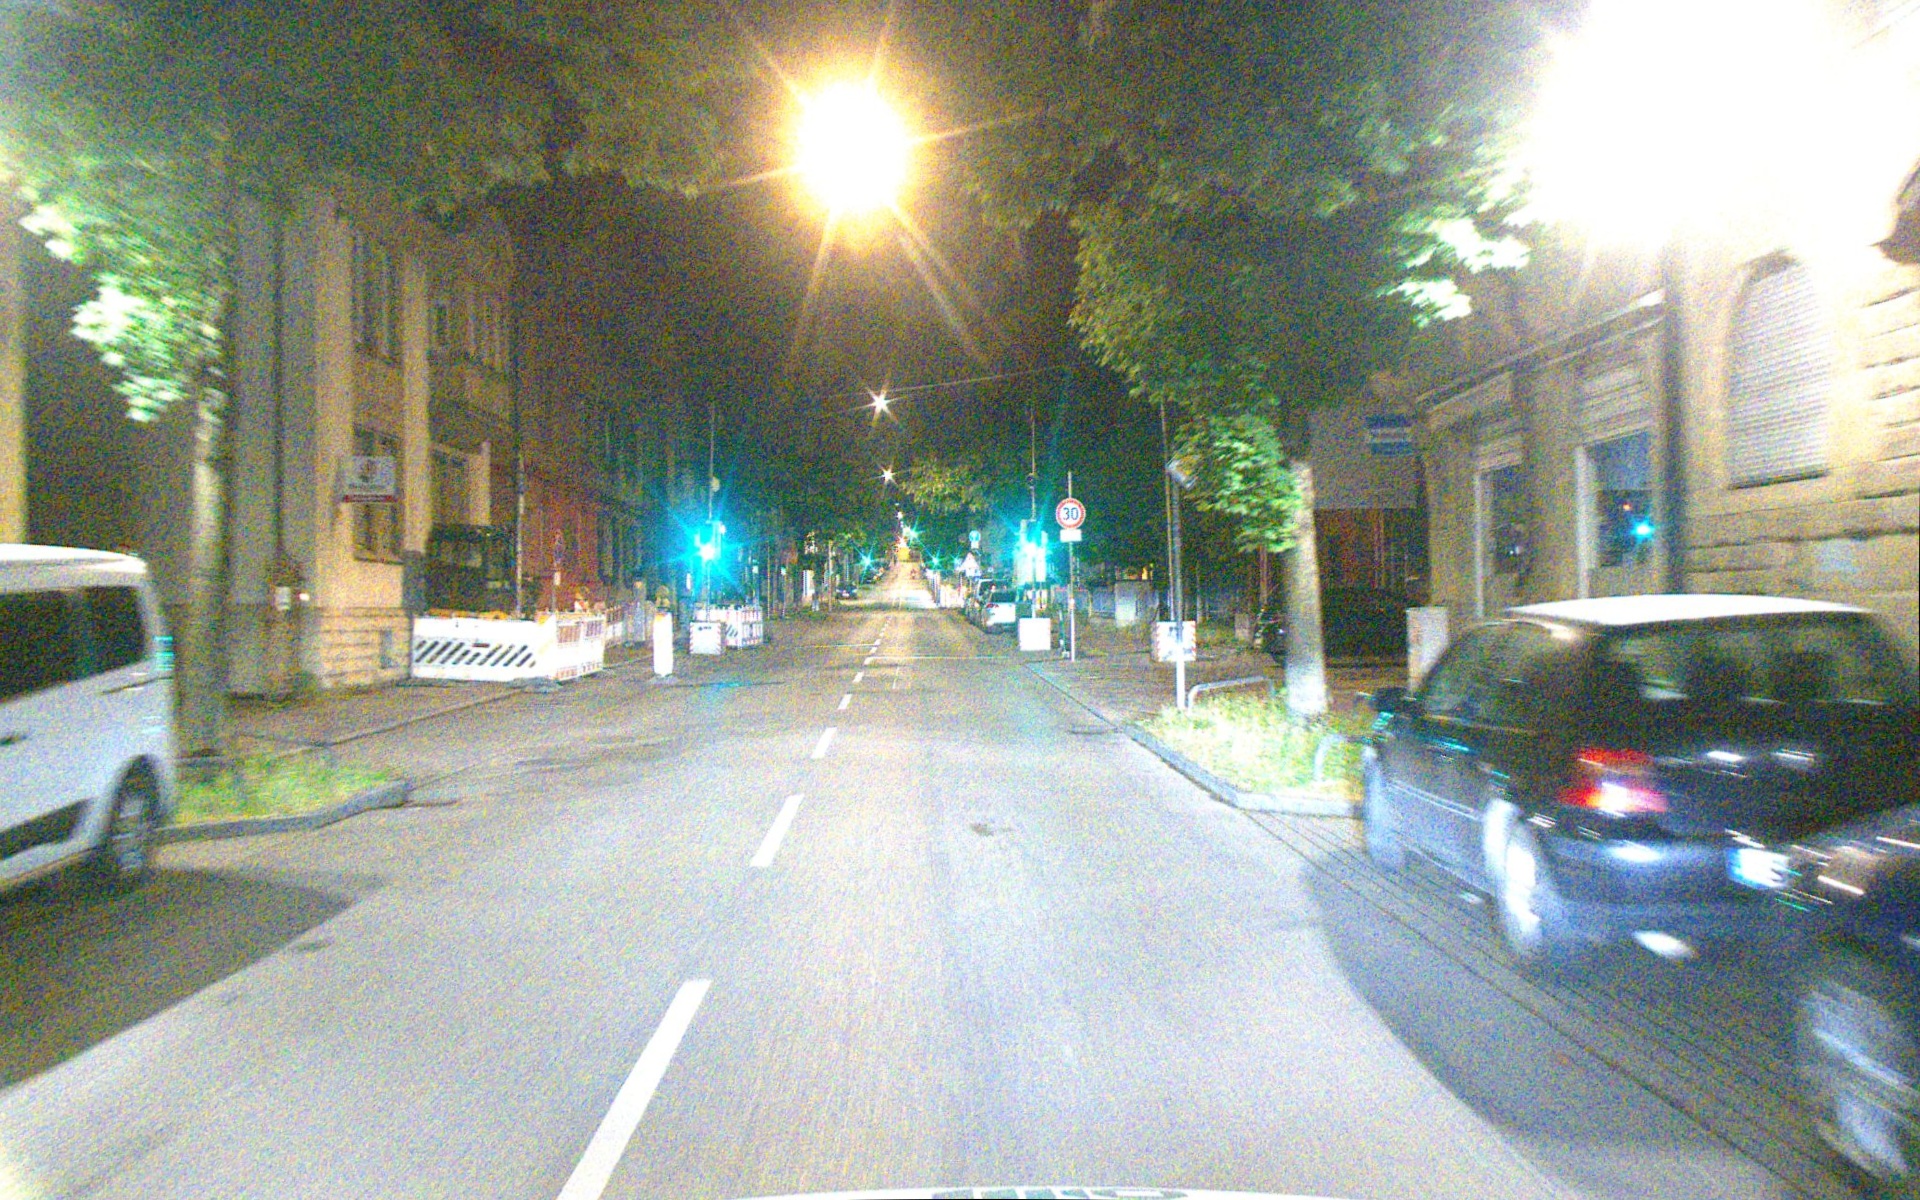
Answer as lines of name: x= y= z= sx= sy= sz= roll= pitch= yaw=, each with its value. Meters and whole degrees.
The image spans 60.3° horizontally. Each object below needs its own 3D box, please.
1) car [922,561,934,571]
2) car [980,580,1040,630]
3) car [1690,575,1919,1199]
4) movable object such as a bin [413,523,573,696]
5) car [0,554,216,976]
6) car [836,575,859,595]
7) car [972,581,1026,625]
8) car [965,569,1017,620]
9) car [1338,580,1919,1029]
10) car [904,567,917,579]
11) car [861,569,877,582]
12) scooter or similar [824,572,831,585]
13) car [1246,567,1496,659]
car: x=-4.965 y=-5.250 z=256.408 sx=1.836 sy=1.571 sz=4.204 roll=-2 pitch=2 yaw=-2
car: x=1.658 y=0.139 z=55.781 sx=1.705 sy=1.503 sz=3.999 roll=-4 pitch=1 yaw=-1
car: x=3.126 y=0.694 z=2.684 sx=1.698 sy=1.527 sz=4.465 roll=-2 pitch=0 yaw=-3
movable object such as a bin: x=-7.863 y=0.130 z=28.179 sx=1.539 sy=2.672 sz=3.909 roll=-2 pitch=1 yaw=-1
car: x=-5.197 y=0.755 z=7.232 sx=1.845 sy=1.875 sz=4.812 roll=-1 pitch=1 yaw=-3
car: x=-9.092 y=-1.247 z=133.748 sx=1.637 sy=1.468 sz=4.204 roll=-2 pitch=2 yaw=-2
car: x=1.399 y=0.074 z=60.788 sx=1.652 sy=1.445 sz=4.442 roll=-3 pitch=1 yaw=-2
car: x=1.207 y=-0.249 z=66.767 sx=1.701 sy=1.887 sz=4.313 roll=-2 pitch=1 yaw=-3
car: x=3.076 y=0.680 z=7.687 sx=1.701 sy=1.479 sz=4.000 roll=-2 pitch=1 yaw=0
car: x=-7.577 y=-4.176 z=254.940 sx=1.835 sy=1.846 sz=4.204 roll=-2 pitch=1 yaw=-1
car: x=-11.359 y=-3.032 z=205.872 sx=1.836 sy=1.571 sz=4.204 roll=-2 pitch=2 yaw=-2
scooter or similar: x=-12.779 y=-2.070 z=159.544 sx=0.517 sy=1.185 sz=2.506 roll=-3 pitch=0 yaw=-2
car: x=7.286 y=0.241 z=29.589 sx=3.935 sy=1.447 sz=1.851 roll=-2 pitch=-1 yaw=-4
